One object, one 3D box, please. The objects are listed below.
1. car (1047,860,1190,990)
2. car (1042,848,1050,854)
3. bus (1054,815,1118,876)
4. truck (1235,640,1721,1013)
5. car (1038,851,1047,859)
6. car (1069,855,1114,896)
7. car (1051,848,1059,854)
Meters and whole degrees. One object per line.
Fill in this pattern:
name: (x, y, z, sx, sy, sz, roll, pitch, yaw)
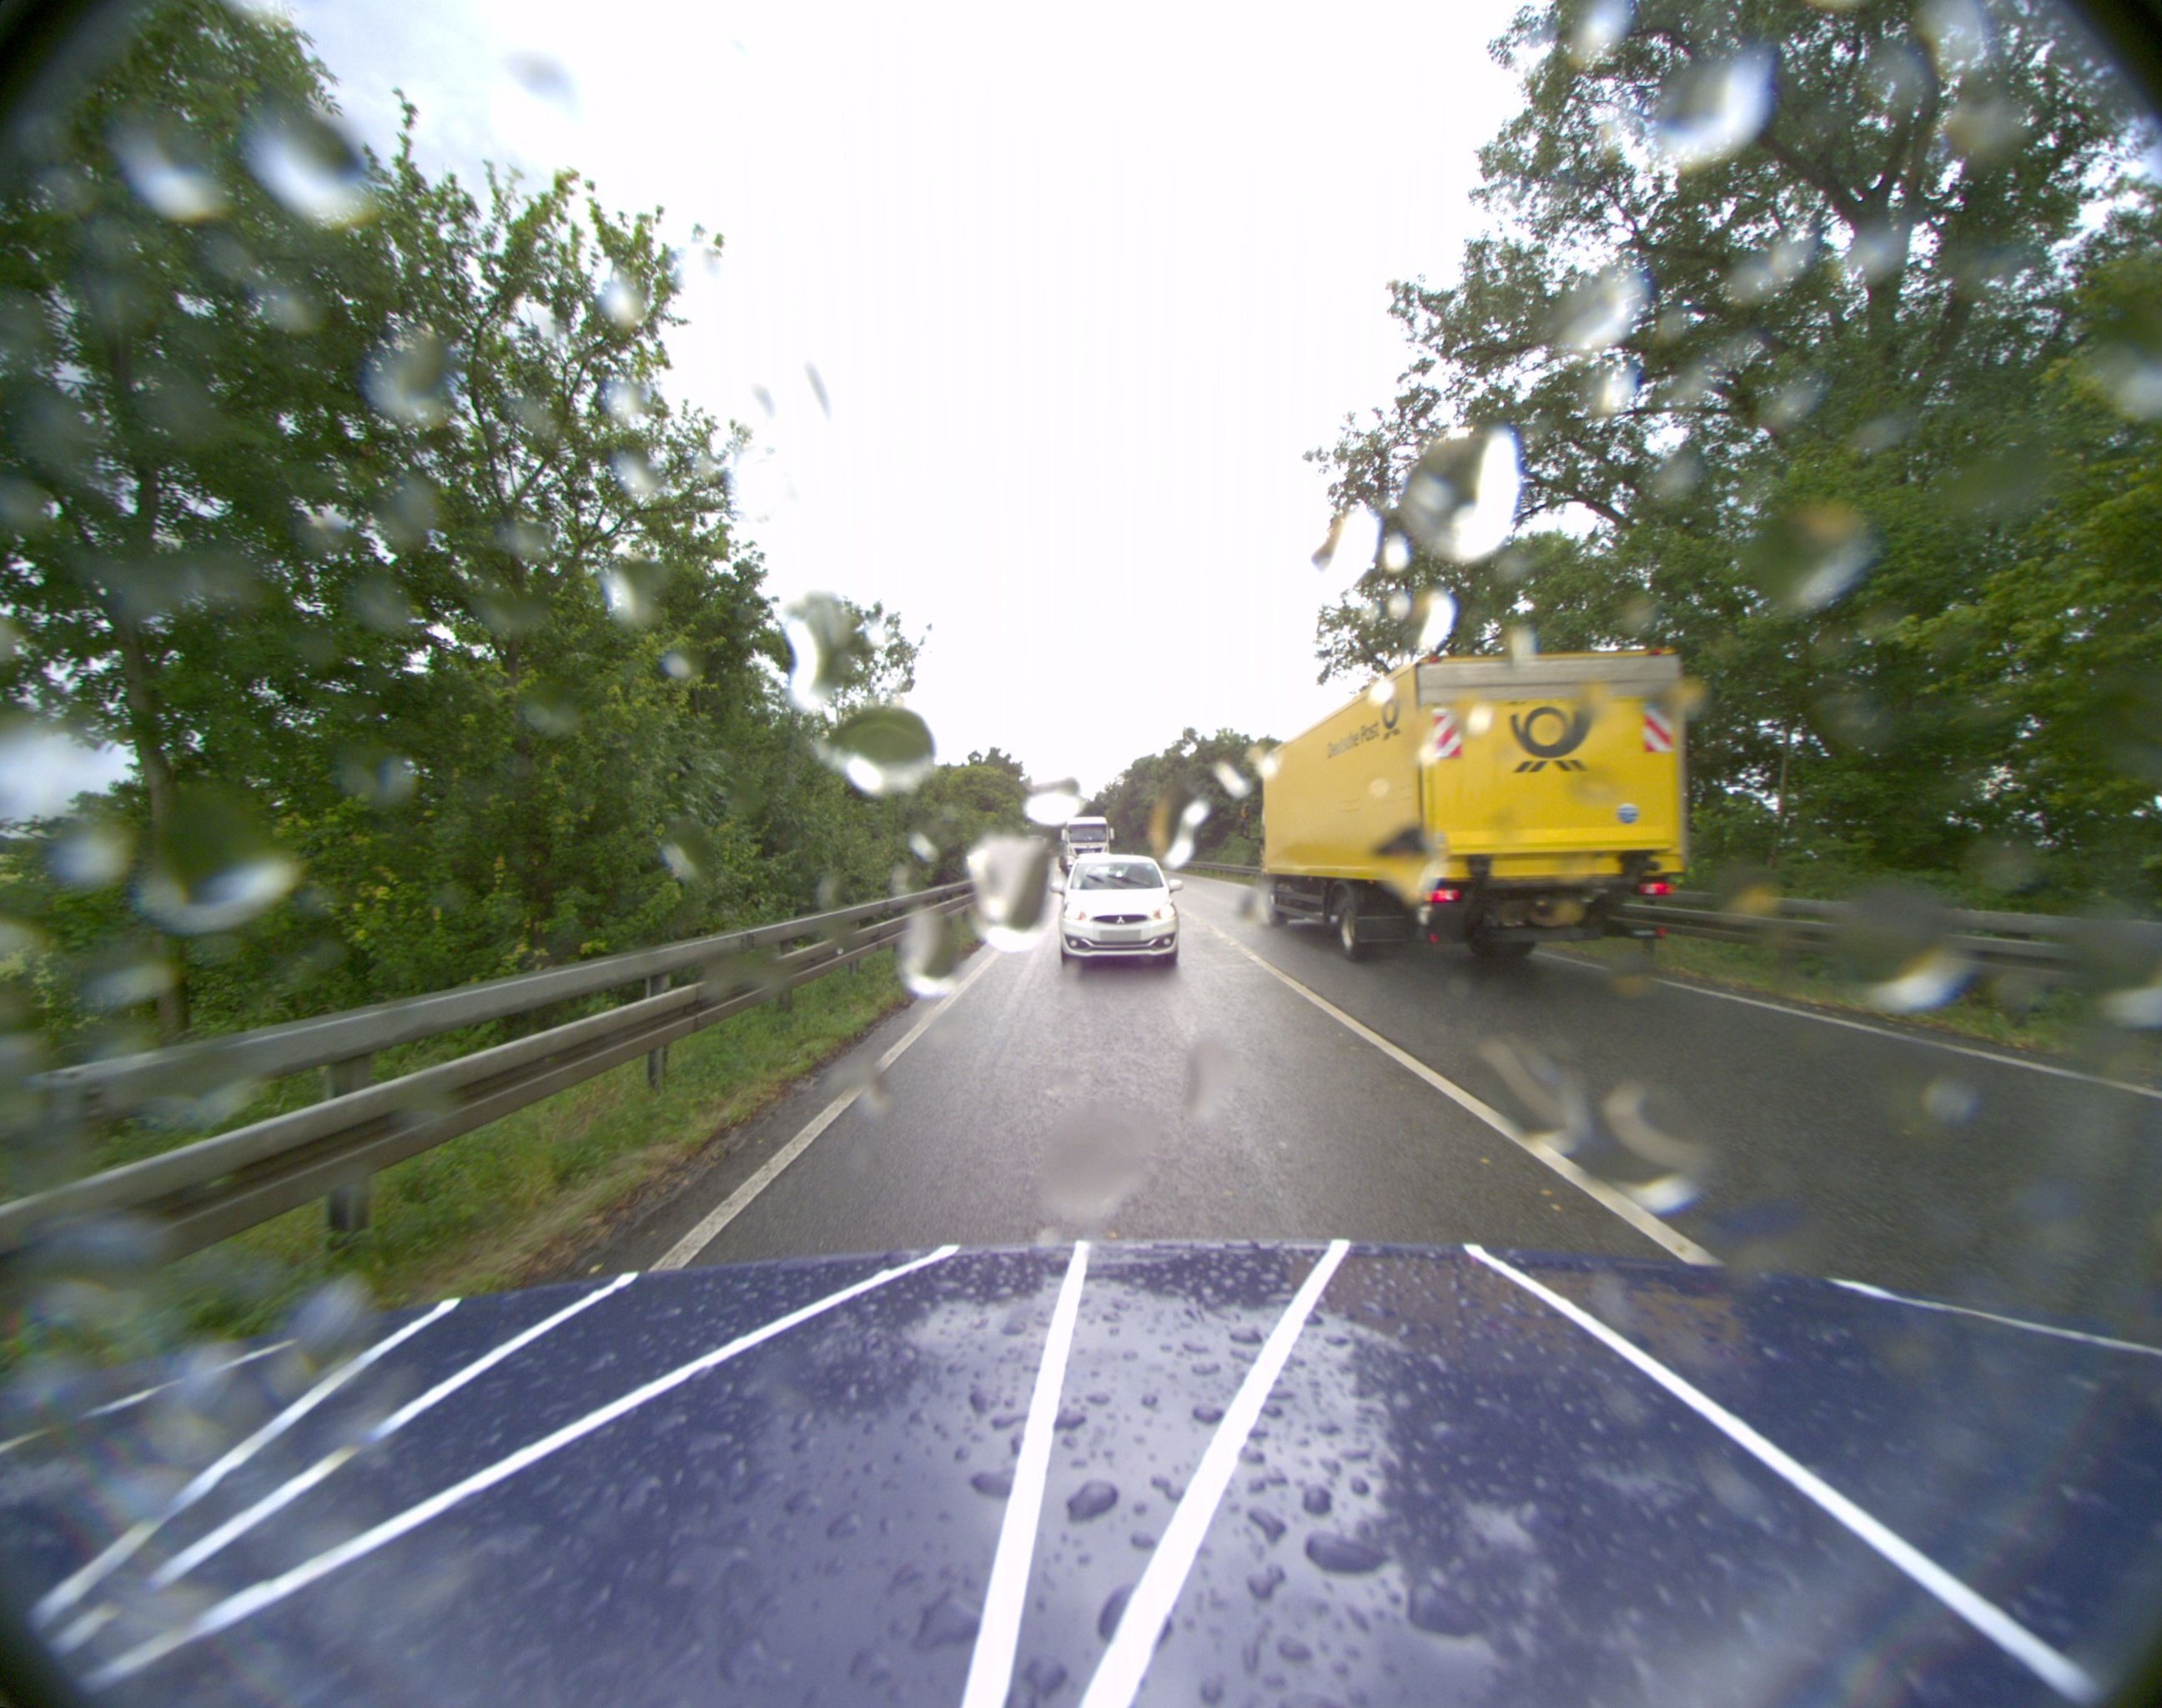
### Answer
car: (0.487, 0.889, 11.302, 1.700, 1.471, 4.063, -2, 1, 1)
car: (-7.432, -0.691, 160.527, 1.377, 1.281, 3.249, -2, 1, -10)
bus: (0.068, -0.552, 50.171, 3.064, 3.405, 13.633, -2, 1, -4)
truck: (4.638, -0.258, 11.685, 2.777, 3.409, 9.187, -1, 0, 1)
car: (-7.034, 0.189, 138.958, 1.393, 1.470, 3.225, 0, 1, -5)
car: (0.431, 0.746, 27.658, 1.475, 1.410, 3.429, -1, 0, 3)
car: (-5.140, -0.586, 149.440, 1.246, 1.281, 2.880, -2, 1, -10)
